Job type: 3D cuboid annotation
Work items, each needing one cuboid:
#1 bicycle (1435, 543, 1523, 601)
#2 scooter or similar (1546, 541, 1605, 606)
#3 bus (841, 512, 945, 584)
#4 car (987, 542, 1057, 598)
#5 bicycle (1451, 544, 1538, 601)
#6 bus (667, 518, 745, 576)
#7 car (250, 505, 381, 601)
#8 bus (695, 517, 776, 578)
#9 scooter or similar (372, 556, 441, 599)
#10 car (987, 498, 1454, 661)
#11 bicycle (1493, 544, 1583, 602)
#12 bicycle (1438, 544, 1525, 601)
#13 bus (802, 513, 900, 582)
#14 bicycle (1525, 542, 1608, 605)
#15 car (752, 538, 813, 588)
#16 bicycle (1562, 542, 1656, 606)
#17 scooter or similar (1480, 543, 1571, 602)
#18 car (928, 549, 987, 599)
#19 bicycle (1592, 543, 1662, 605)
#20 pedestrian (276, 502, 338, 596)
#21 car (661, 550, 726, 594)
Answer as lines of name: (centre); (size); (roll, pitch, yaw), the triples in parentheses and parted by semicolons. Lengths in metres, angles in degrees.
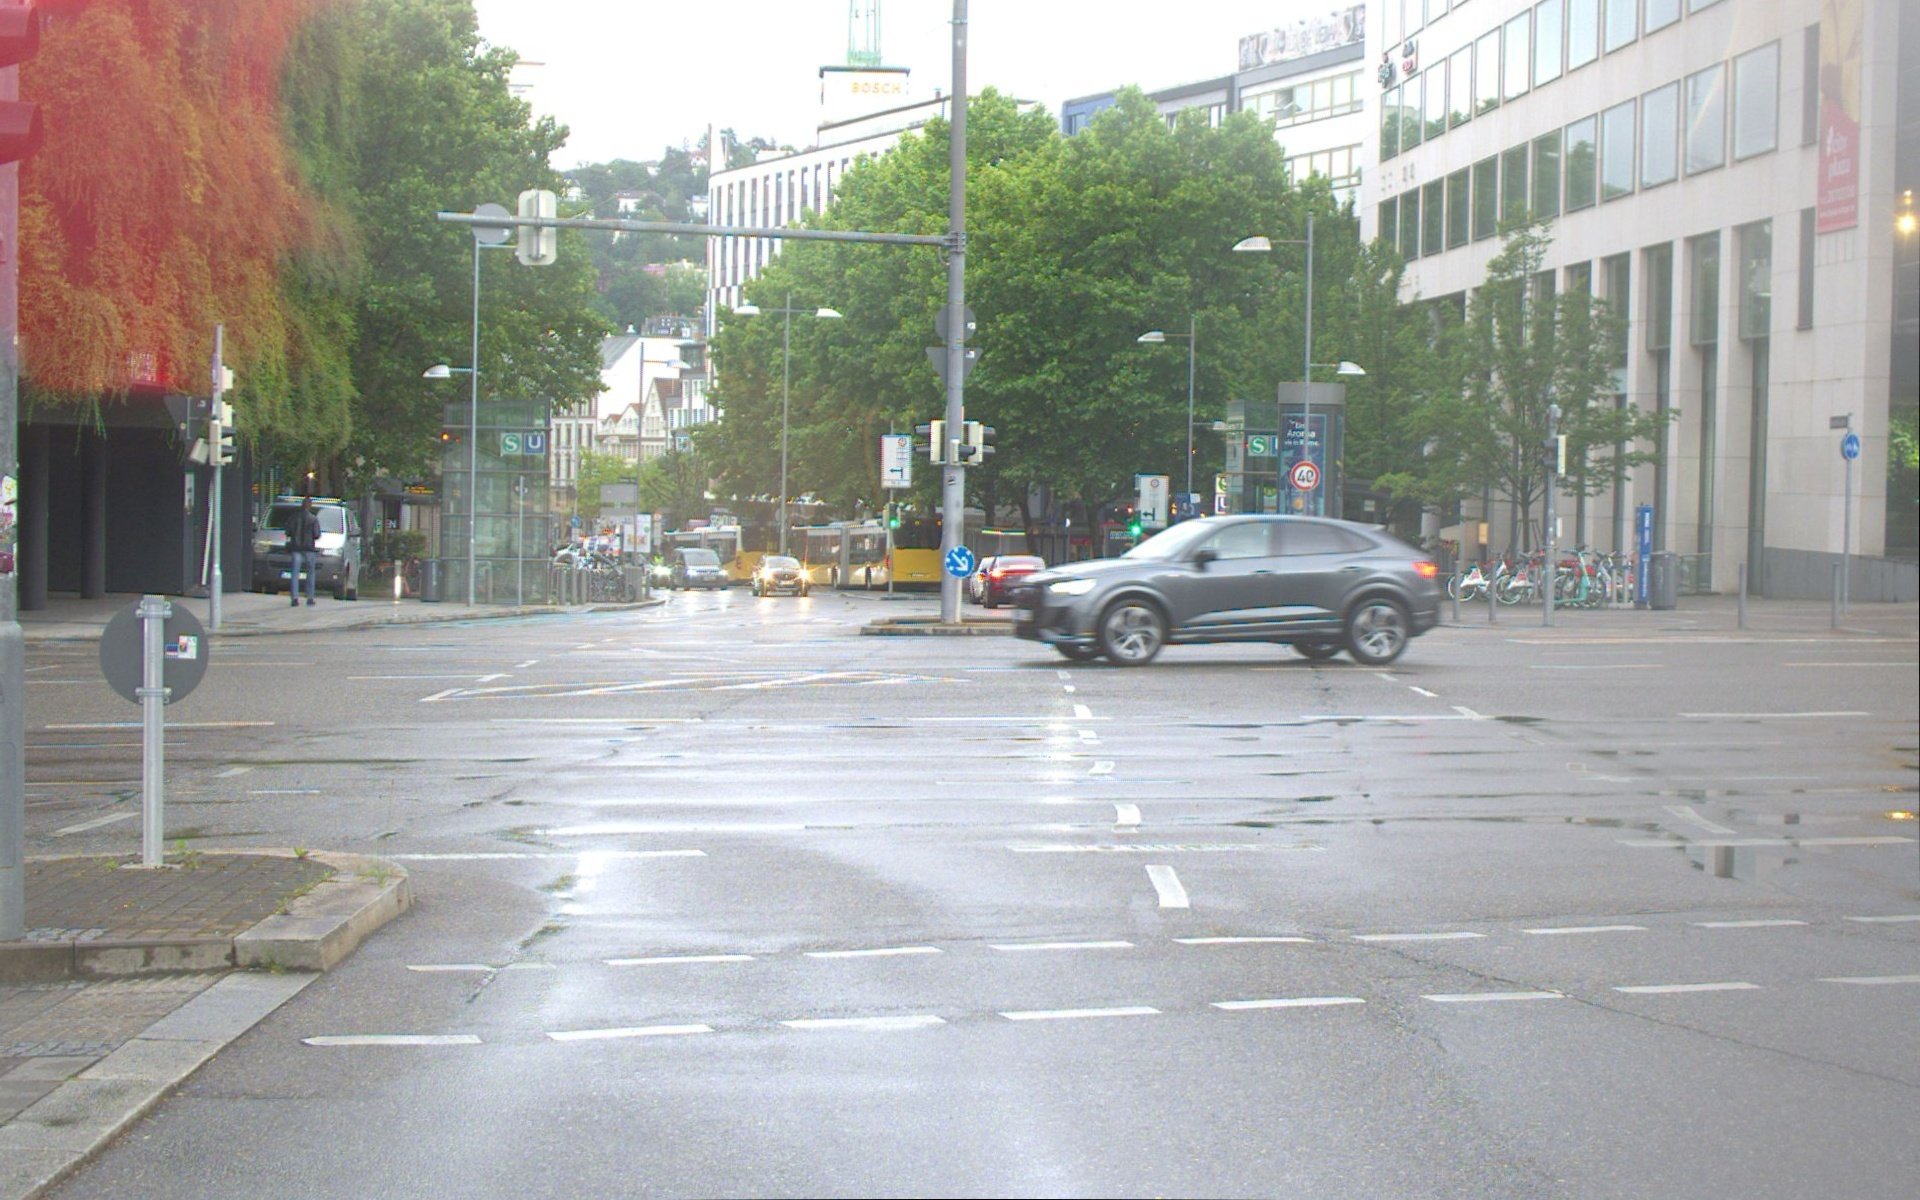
bicycle: (10.982, -0.587, 72.769); (1.777, 1.190, 0.586); (1, 0, 2)
scooter or similar: (11.487, -0.493, 64.154); (0.963, 1.190, 0.454); (1, 1, 40)
bus: (-2.896, -2.236, 145.935); (2.627, 2.985, 7.451); (0, 1, -16)
car: (1.700, -0.827, 95.043); (1.781, 1.503, 4.000); (1, 1, -1)
bicycle: (11.558, -0.594, 74.321); (1.777, 1.190, 0.586); (1, 0, 2)
bus: (-13.369, -2.808, 180.323); (2.627, 2.985, 7.451); (0, 1, -16)
car: (-12.771, -0.921, 68.324); (1.870, 1.833, 4.000); (1, 1, -1)
bus: (-11.353, -2.661, 173.227); (2.627, 2.985, 7.330); (0, 1, -16)
scooter or similar: (-13.279, -0.541, 82.542); (0.623, 1.001, 1.657); (1, 1, 38)
car: (2.692, -0.203, 35.810); (4.473, 1.603, 1.832); (1, 1, -16)
bicycle: (12.029, -0.561, 71.600); (1.777, 1.190, 0.586); (1, 0, 2)
bicycle: (11.130, -0.591, 73.404); (1.777, 1.190, 0.586); (1, 0, 2)
bus: (-4.911, -2.366, 153.081); (2.627, 2.985, 7.451); (0, 1, -16)
bicycle: (11.698, -0.513, 66.390); (0.584, 1.190, 1.784); (1, 1, -28)
car: (-6.567, -1.365, 126.562); (2.164, 1.759, 5.113); (1, 1, -3)
bicycle: (12.241, -0.490, 64.838); (1.624, 1.190, 0.586); (1, 0, 26)
scooter or similar: (11.675, -0.559, 70.978); (1.777, 1.190, 0.586); (1, 0, 2)
car: (-0.095, -0.817, 106.750); (1.781, 1.503, 4.000); (1, 1, -1)
bicycle: (13.001, -0.500, 66.948); (0.586, 1.190, 1.779); (1, 1, 38)
pedestrian: (-11.600, -0.902, 61.092); (0.933, 1.638, 0.774); (1, 0, -1)
car: (-11.187, -1.184, 143.872); (2.163, 1.759, 4.832); (-1, 1, -11)
